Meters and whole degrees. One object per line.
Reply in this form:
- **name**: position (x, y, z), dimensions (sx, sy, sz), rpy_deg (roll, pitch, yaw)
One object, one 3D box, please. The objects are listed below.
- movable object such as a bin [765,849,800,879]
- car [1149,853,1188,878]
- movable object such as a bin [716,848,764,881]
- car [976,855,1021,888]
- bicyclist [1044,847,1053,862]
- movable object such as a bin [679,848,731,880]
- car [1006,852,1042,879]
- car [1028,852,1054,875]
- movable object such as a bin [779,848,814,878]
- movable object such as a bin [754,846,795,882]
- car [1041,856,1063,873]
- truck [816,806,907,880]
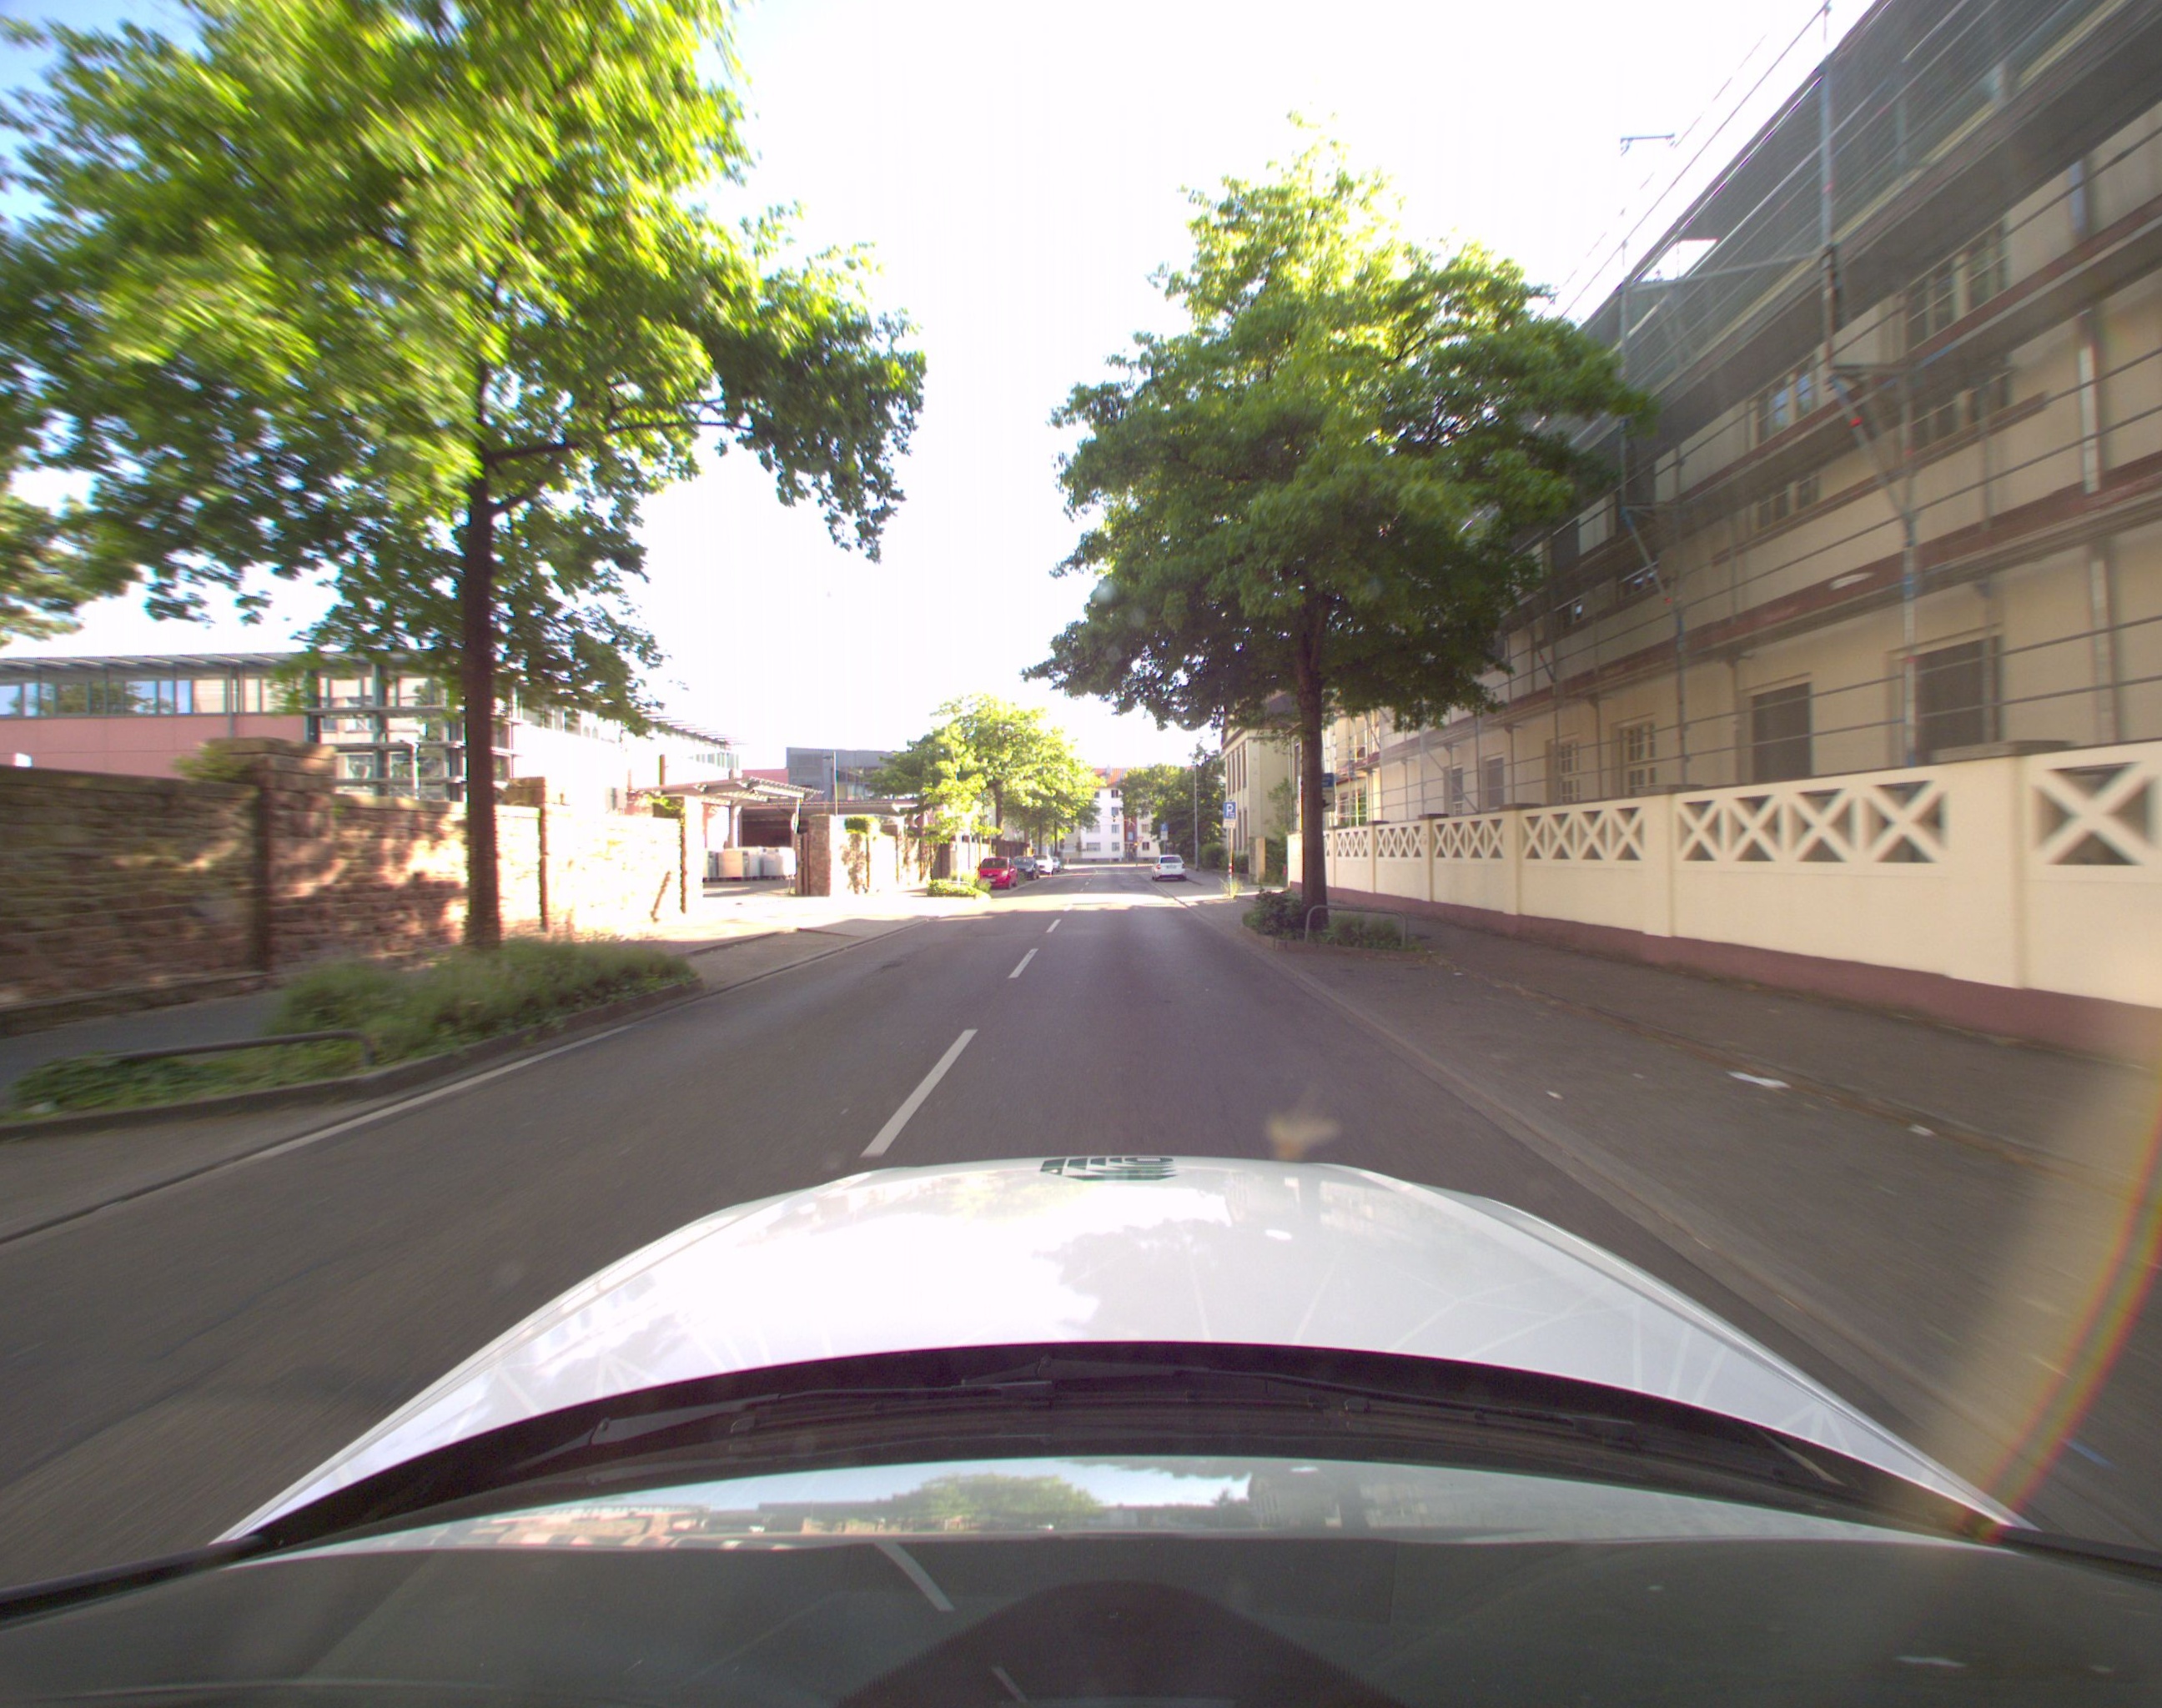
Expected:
- **movable object such as a bin**: position (-17.614, 0.563, 48.140), dimensions (1.202, 1.687, 2.438), rpy_deg (1, 0, 0)
- **car**: position (4.916, 0.609, 46.340), dimensions (1.826, 1.323, 4.497), rpy_deg (-2, 0, 1)
- **movable object such as a bin**: position (-17.191, 0.514, 41.132), dimensions (1.322, 1.598, 2.554), rpy_deg (1, 0, -1)
- **car**: position (-3.892, 0.795, 38.961), dimensions (1.602, 1.459, 3.710), rpy_deg (1, 0, 2)
- **bicyclist**: position (-3.844, 0.036, 96.269), dimensions (0.793, 1.757, 0.605), rpy_deg (0, 0, -40)
- **movable object such as a bin**: position (-18.643, 0.496, 40.479), dimensions (1.403, 1.538, 2.554), rpy_deg (1, 0, -1)
- **car**: position (-3.586, 0.713, 52.074), dimensions (1.730, 1.592, 4.110), rpy_deg (1, 0, 3)
- **car**: position (-3.030, 0.699, 62.804), dimensions (1.714, 1.683, 4.351), rpy_deg (-1, 0, 0)
- **movable object such as a bin**: position (-17.617, 0.540, 50.565), dimensions (1.202, 1.781, 2.673), rpy_deg (1, 0, 0)
- **movable object such as a bin**: position (-16.403, 0.512, 43.656), dimensions (1.187, 1.864, 2.440), rpy_deg (1, 0, 2)
- **car**: position (-2.682, 0.934, 75.189), dimensions (1.720, 1.475, 4.480), rpy_deg (1, 0, 2)
- **truck**: position (-11.933, -0.582, 45.037), dimensions (2.722, 3.711, 7.431), rpy_deg (1, 0, 2)
